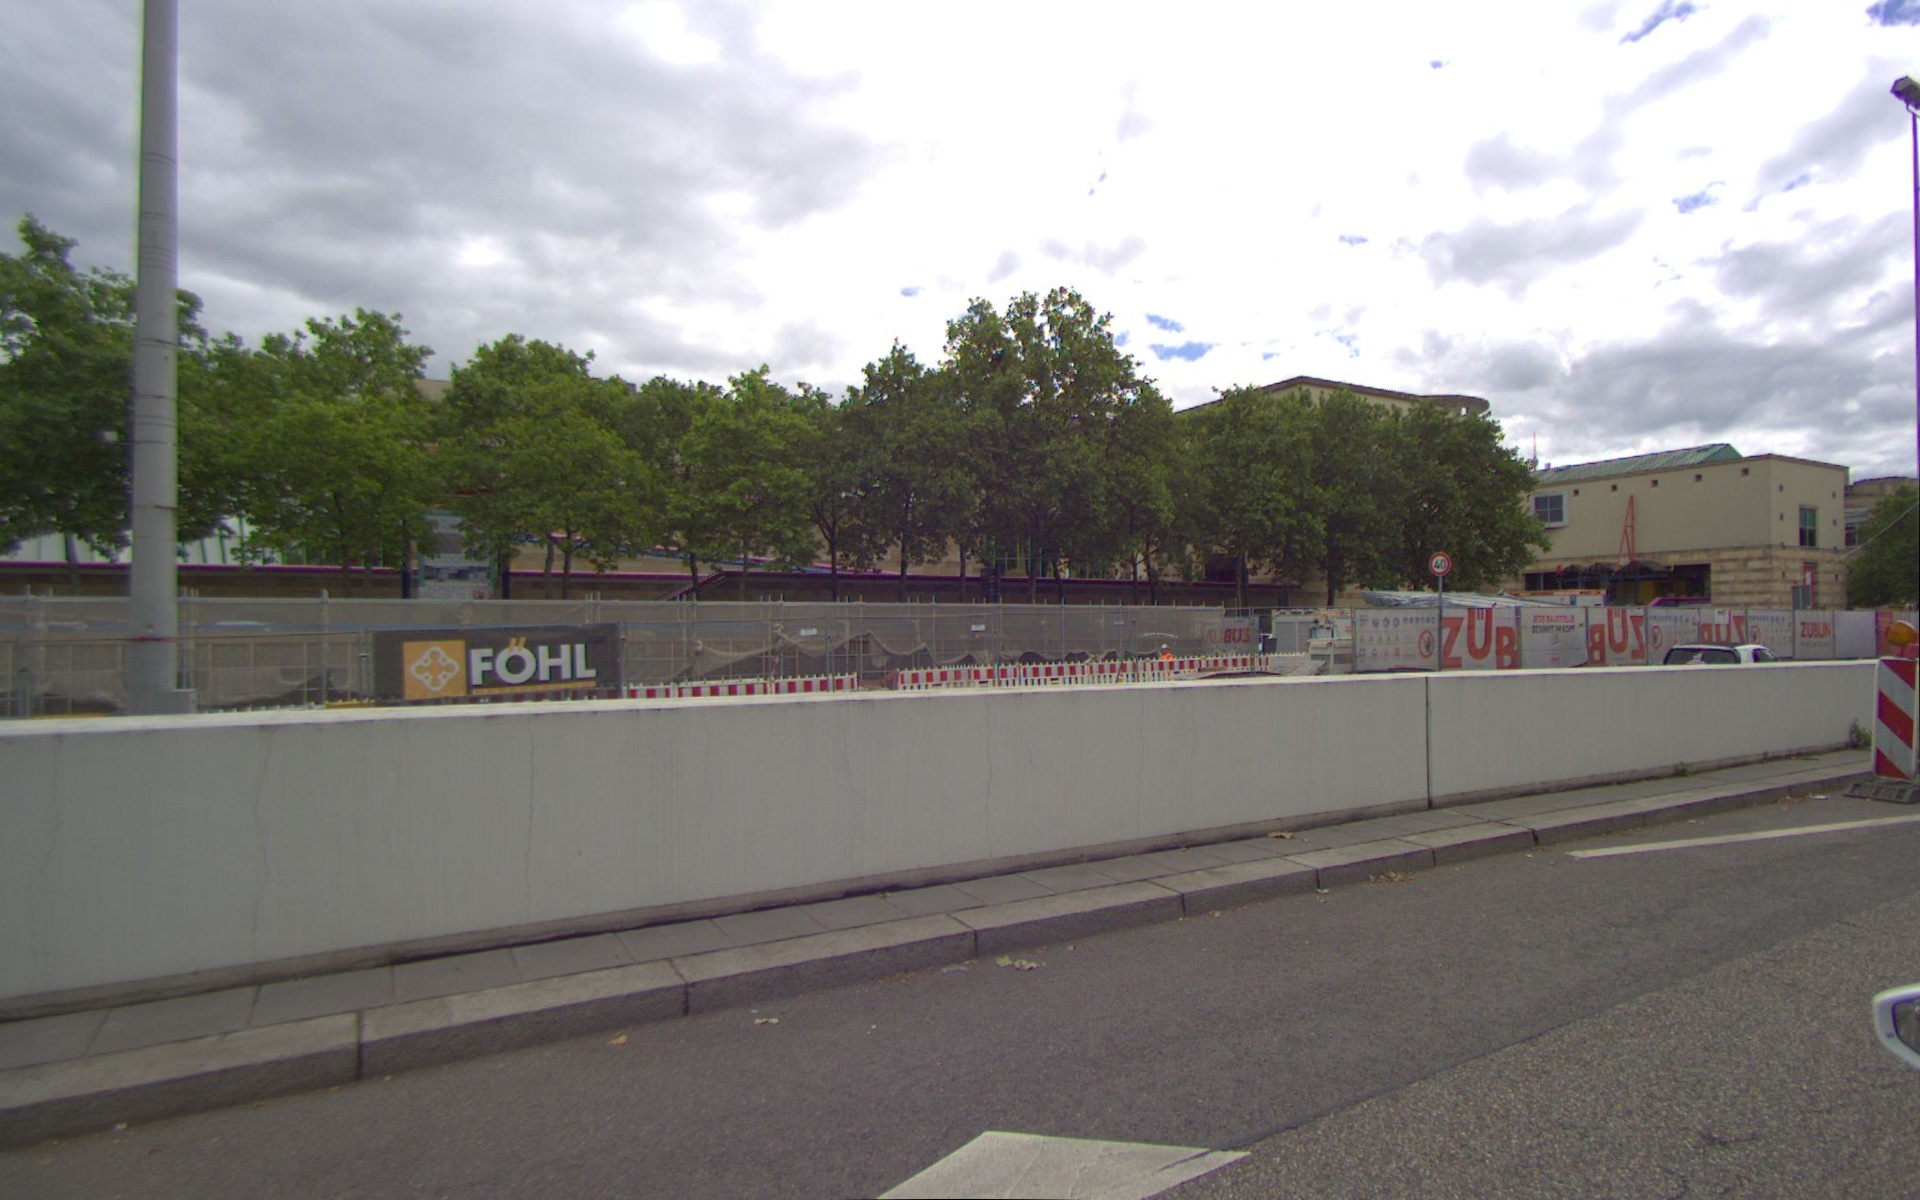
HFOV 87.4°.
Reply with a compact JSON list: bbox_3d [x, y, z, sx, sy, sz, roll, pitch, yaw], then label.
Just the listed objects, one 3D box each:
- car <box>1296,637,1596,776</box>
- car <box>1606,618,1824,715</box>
[{"bbox_3d":[6.879,1.372,14.179,3.954,1.663,1.984,1,-2,-31],"label":"car"},{"bbox_3d":[14.418,1.206,19.151,3.954,1.663,1.984,1,-2,-31],"label":"car"}]
